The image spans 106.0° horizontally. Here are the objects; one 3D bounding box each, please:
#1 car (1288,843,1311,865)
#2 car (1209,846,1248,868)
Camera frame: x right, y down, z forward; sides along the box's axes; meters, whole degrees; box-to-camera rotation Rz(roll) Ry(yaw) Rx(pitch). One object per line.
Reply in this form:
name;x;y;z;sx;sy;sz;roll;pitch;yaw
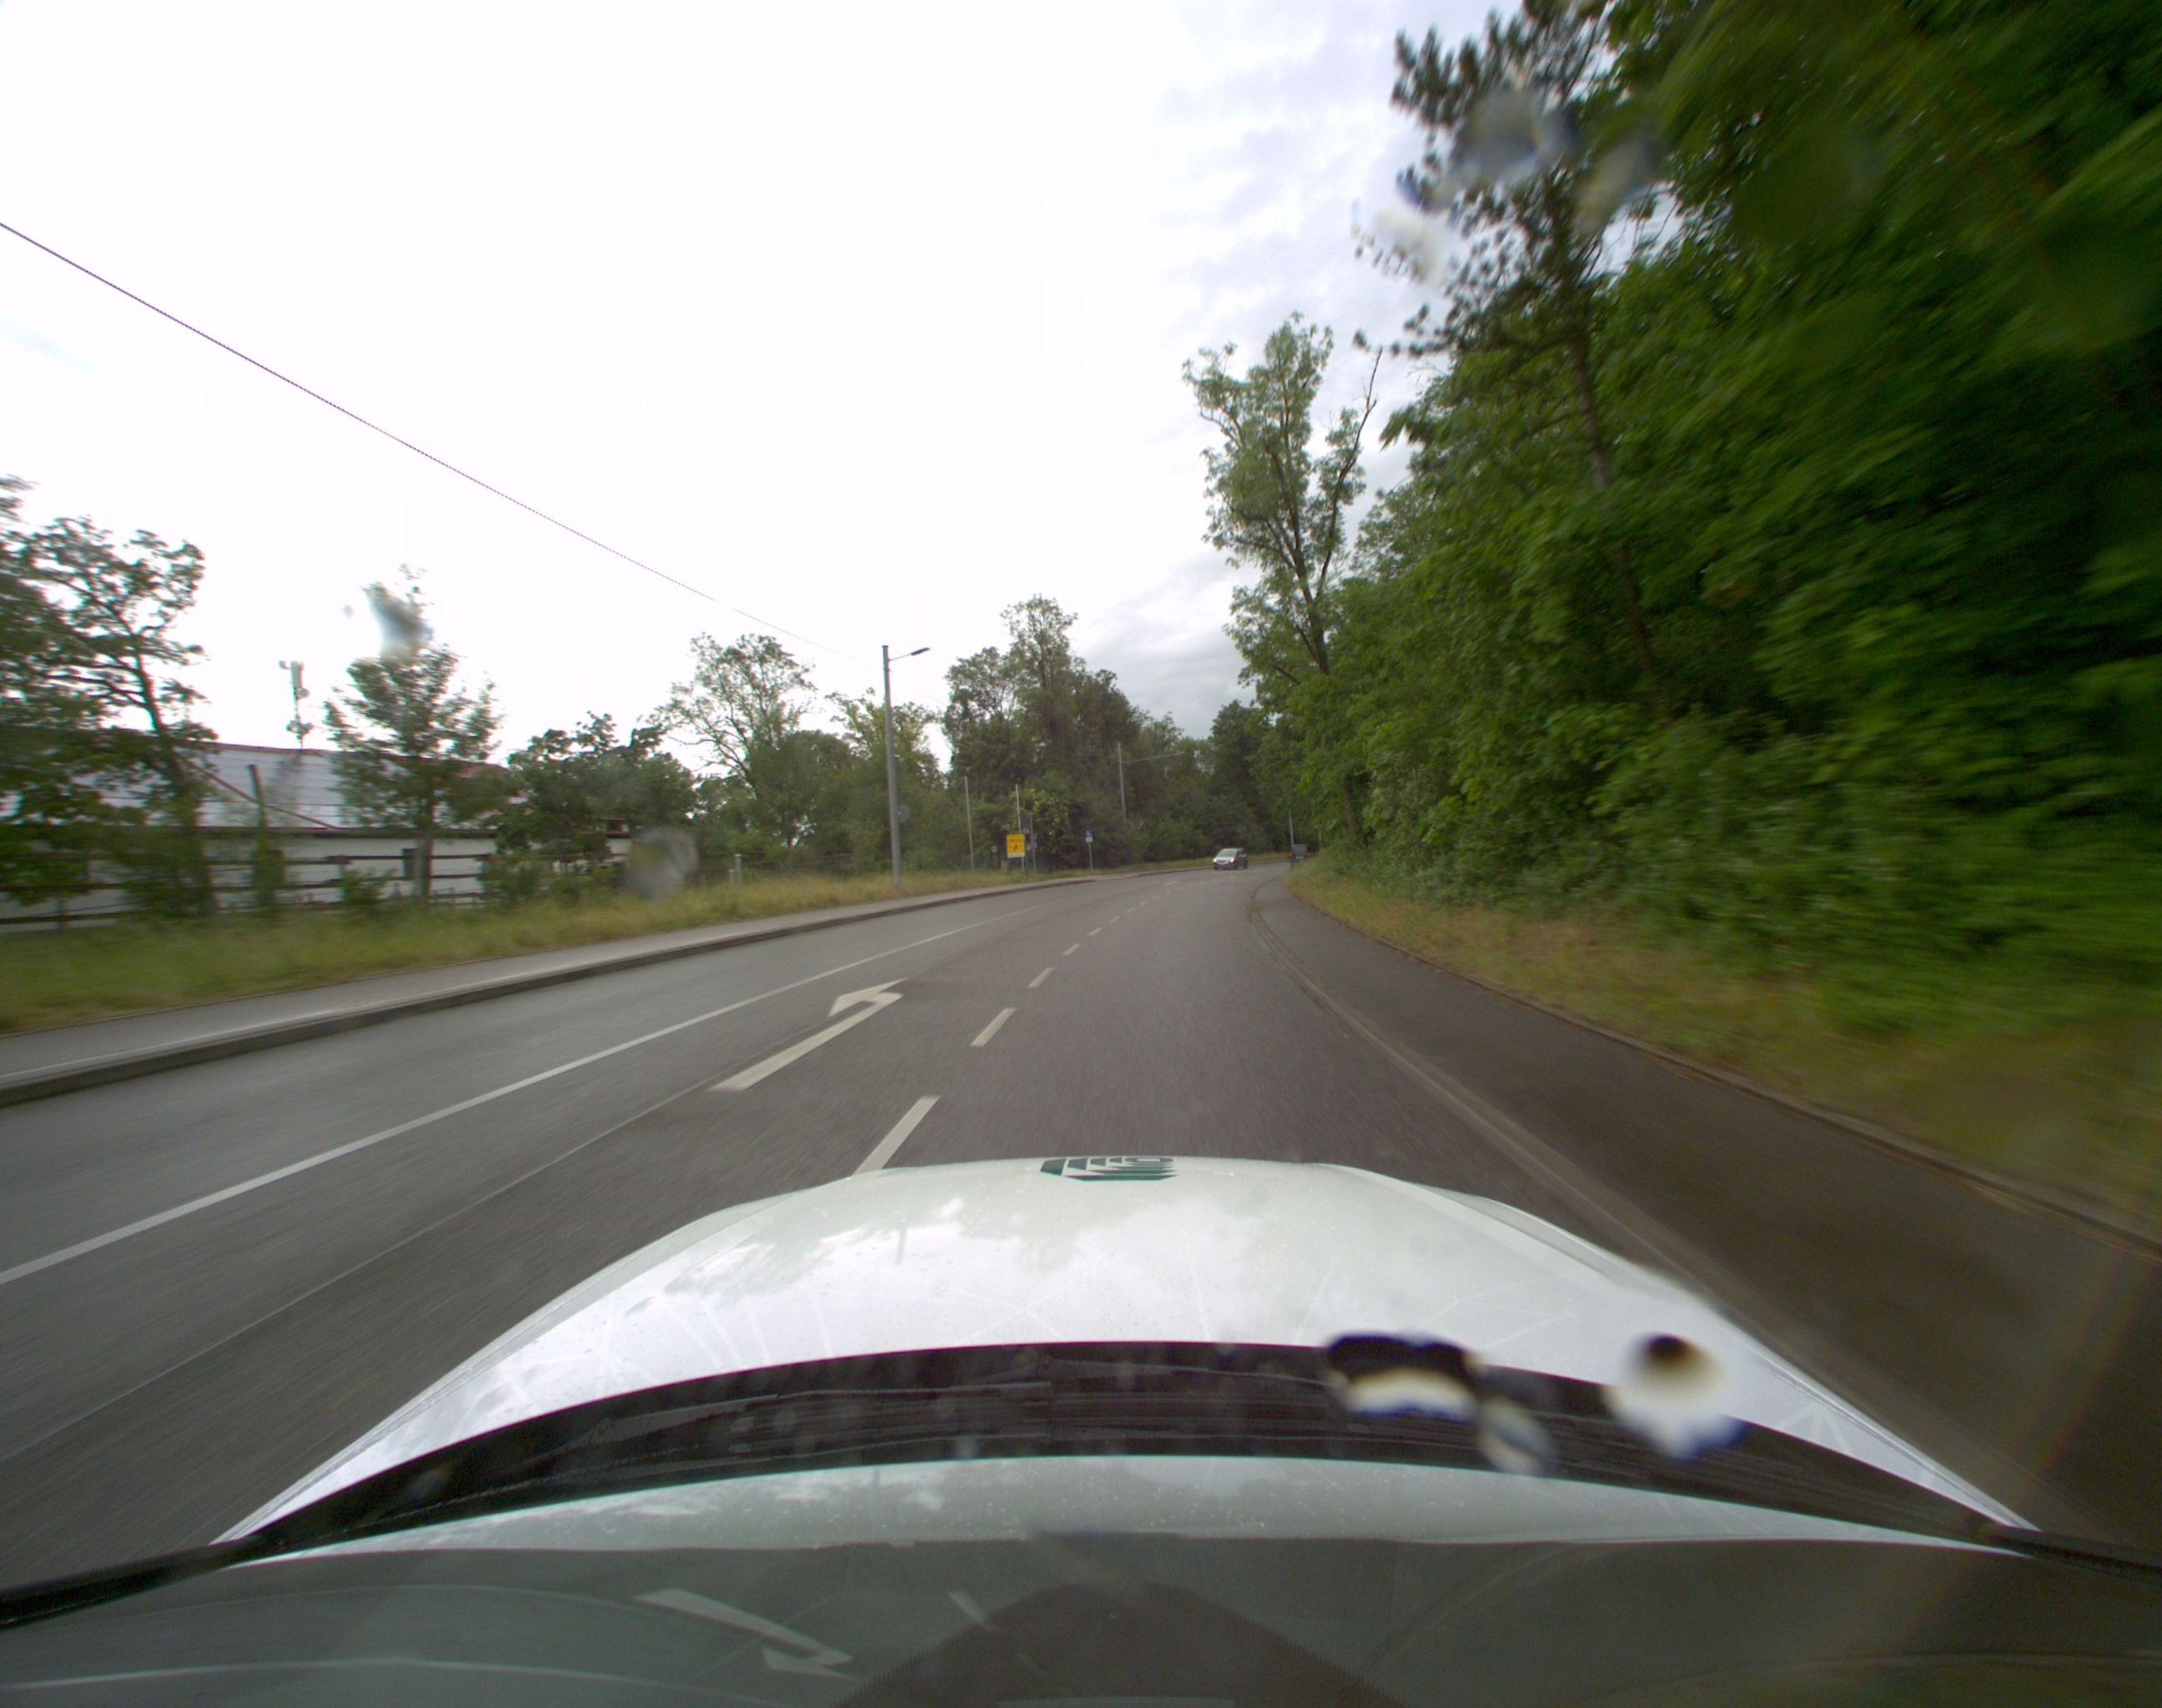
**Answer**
car;17.038;-0.020;63.533;1.655;1.594;3.698;-1;0;15
car;11.488;0.201;63.399;1.742;1.614;4.445;-1;0;27
